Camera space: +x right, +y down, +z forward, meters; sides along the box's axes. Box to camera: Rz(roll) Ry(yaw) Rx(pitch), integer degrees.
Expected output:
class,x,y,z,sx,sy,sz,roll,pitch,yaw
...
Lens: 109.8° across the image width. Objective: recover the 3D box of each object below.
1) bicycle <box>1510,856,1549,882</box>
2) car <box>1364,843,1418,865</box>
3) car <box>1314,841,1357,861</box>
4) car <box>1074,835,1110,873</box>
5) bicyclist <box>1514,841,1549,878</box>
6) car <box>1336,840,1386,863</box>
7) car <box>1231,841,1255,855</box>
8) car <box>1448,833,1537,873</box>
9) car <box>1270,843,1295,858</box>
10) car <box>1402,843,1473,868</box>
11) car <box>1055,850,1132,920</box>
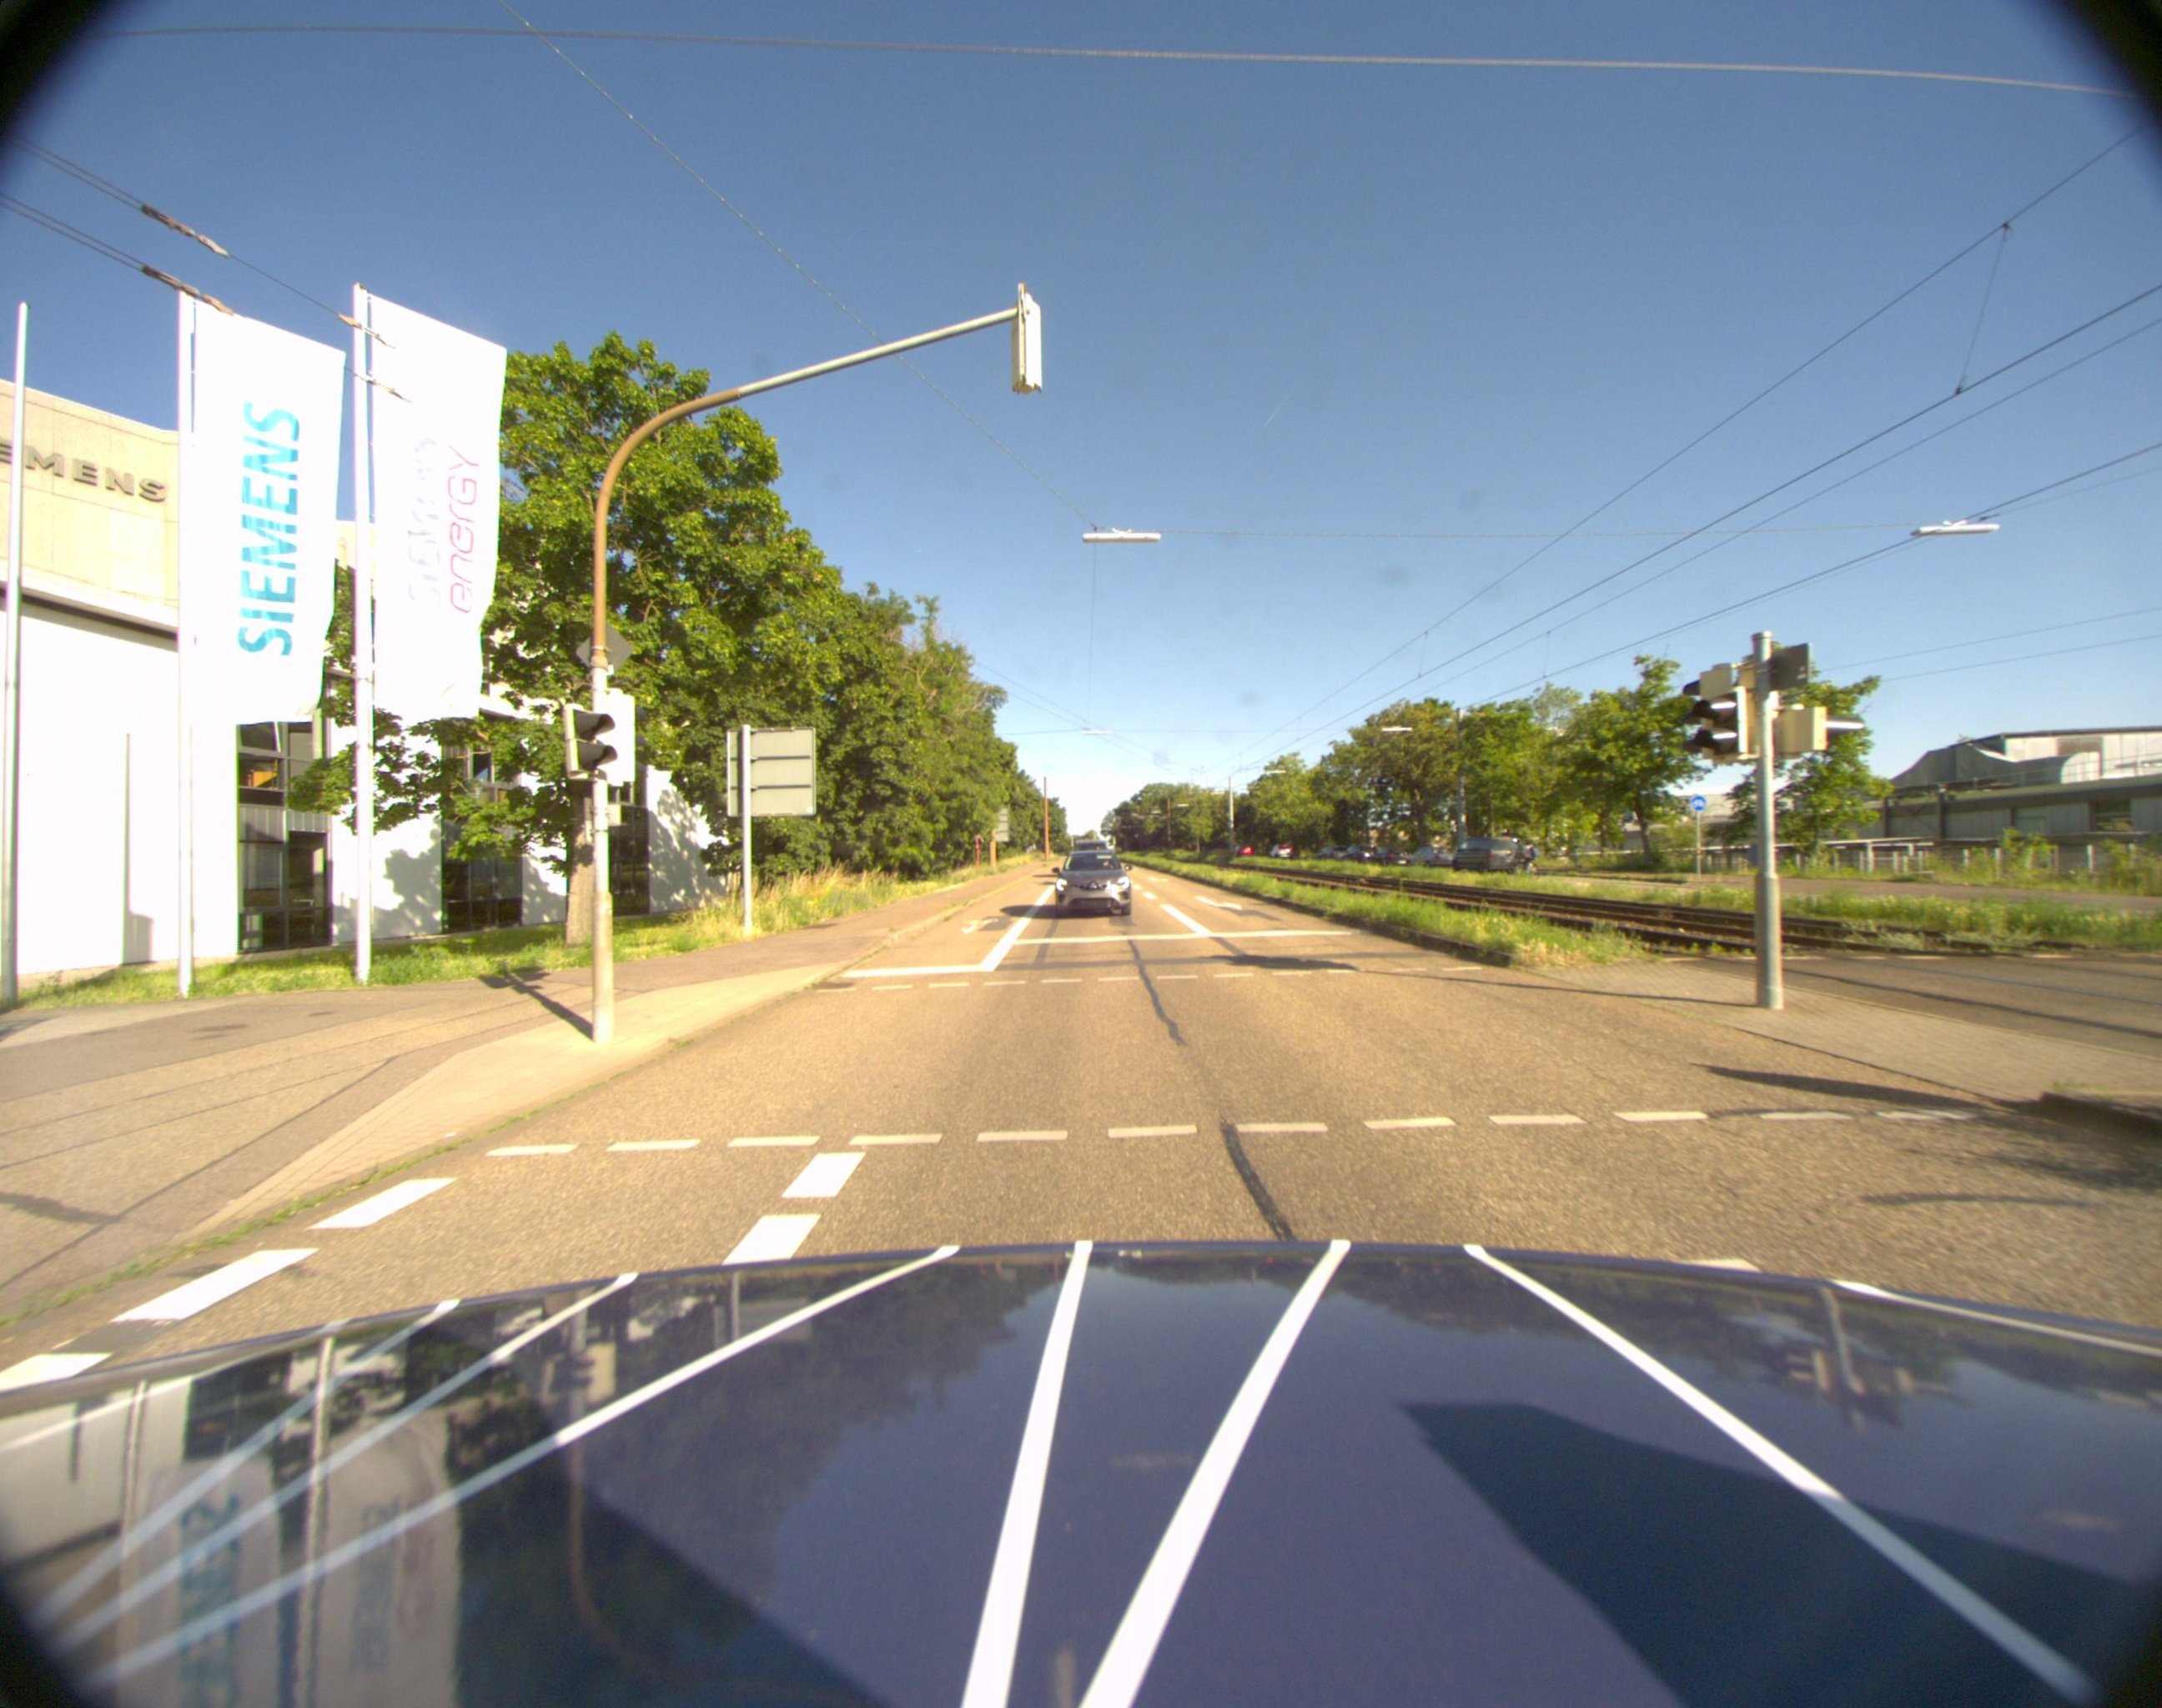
class,x,y,z,sx,sy,sz,roll,pitch,yaw
bicycle,19.932,0.636,33.798,0.698,1.096,1.781,-2,1,1
car,21.593,-0.003,53.111,1.960,1.418,4.488,-2,0,1
car,21.781,-0.275,65.187,2.130,1.554,4.560,-2,0,0
car,0.646,0.017,47.456,1.999,2.198,4.786,-1,0,-1
bicyclist,19.912,0.235,33.587,0.804,1.584,1.236,-2,1,1
car,21.540,-0.200,58.606,2.130,1.578,4.616,-2,0,1
car,21.128,-0.727,99.238,2.321,1.723,4.798,-2,0,3
car,21.498,-0.057,39.931,2.207,1.923,4.685,-2,0,2
car,21.491,-0.351,81.216,1.859,1.549,4.158,-2,0,4
car,21.810,0.072,46.719,2.130,1.372,4.615,-2,0,-1
car,0.246,0.715,20.127,1.796,1.583,4.529,-1,1,-1
